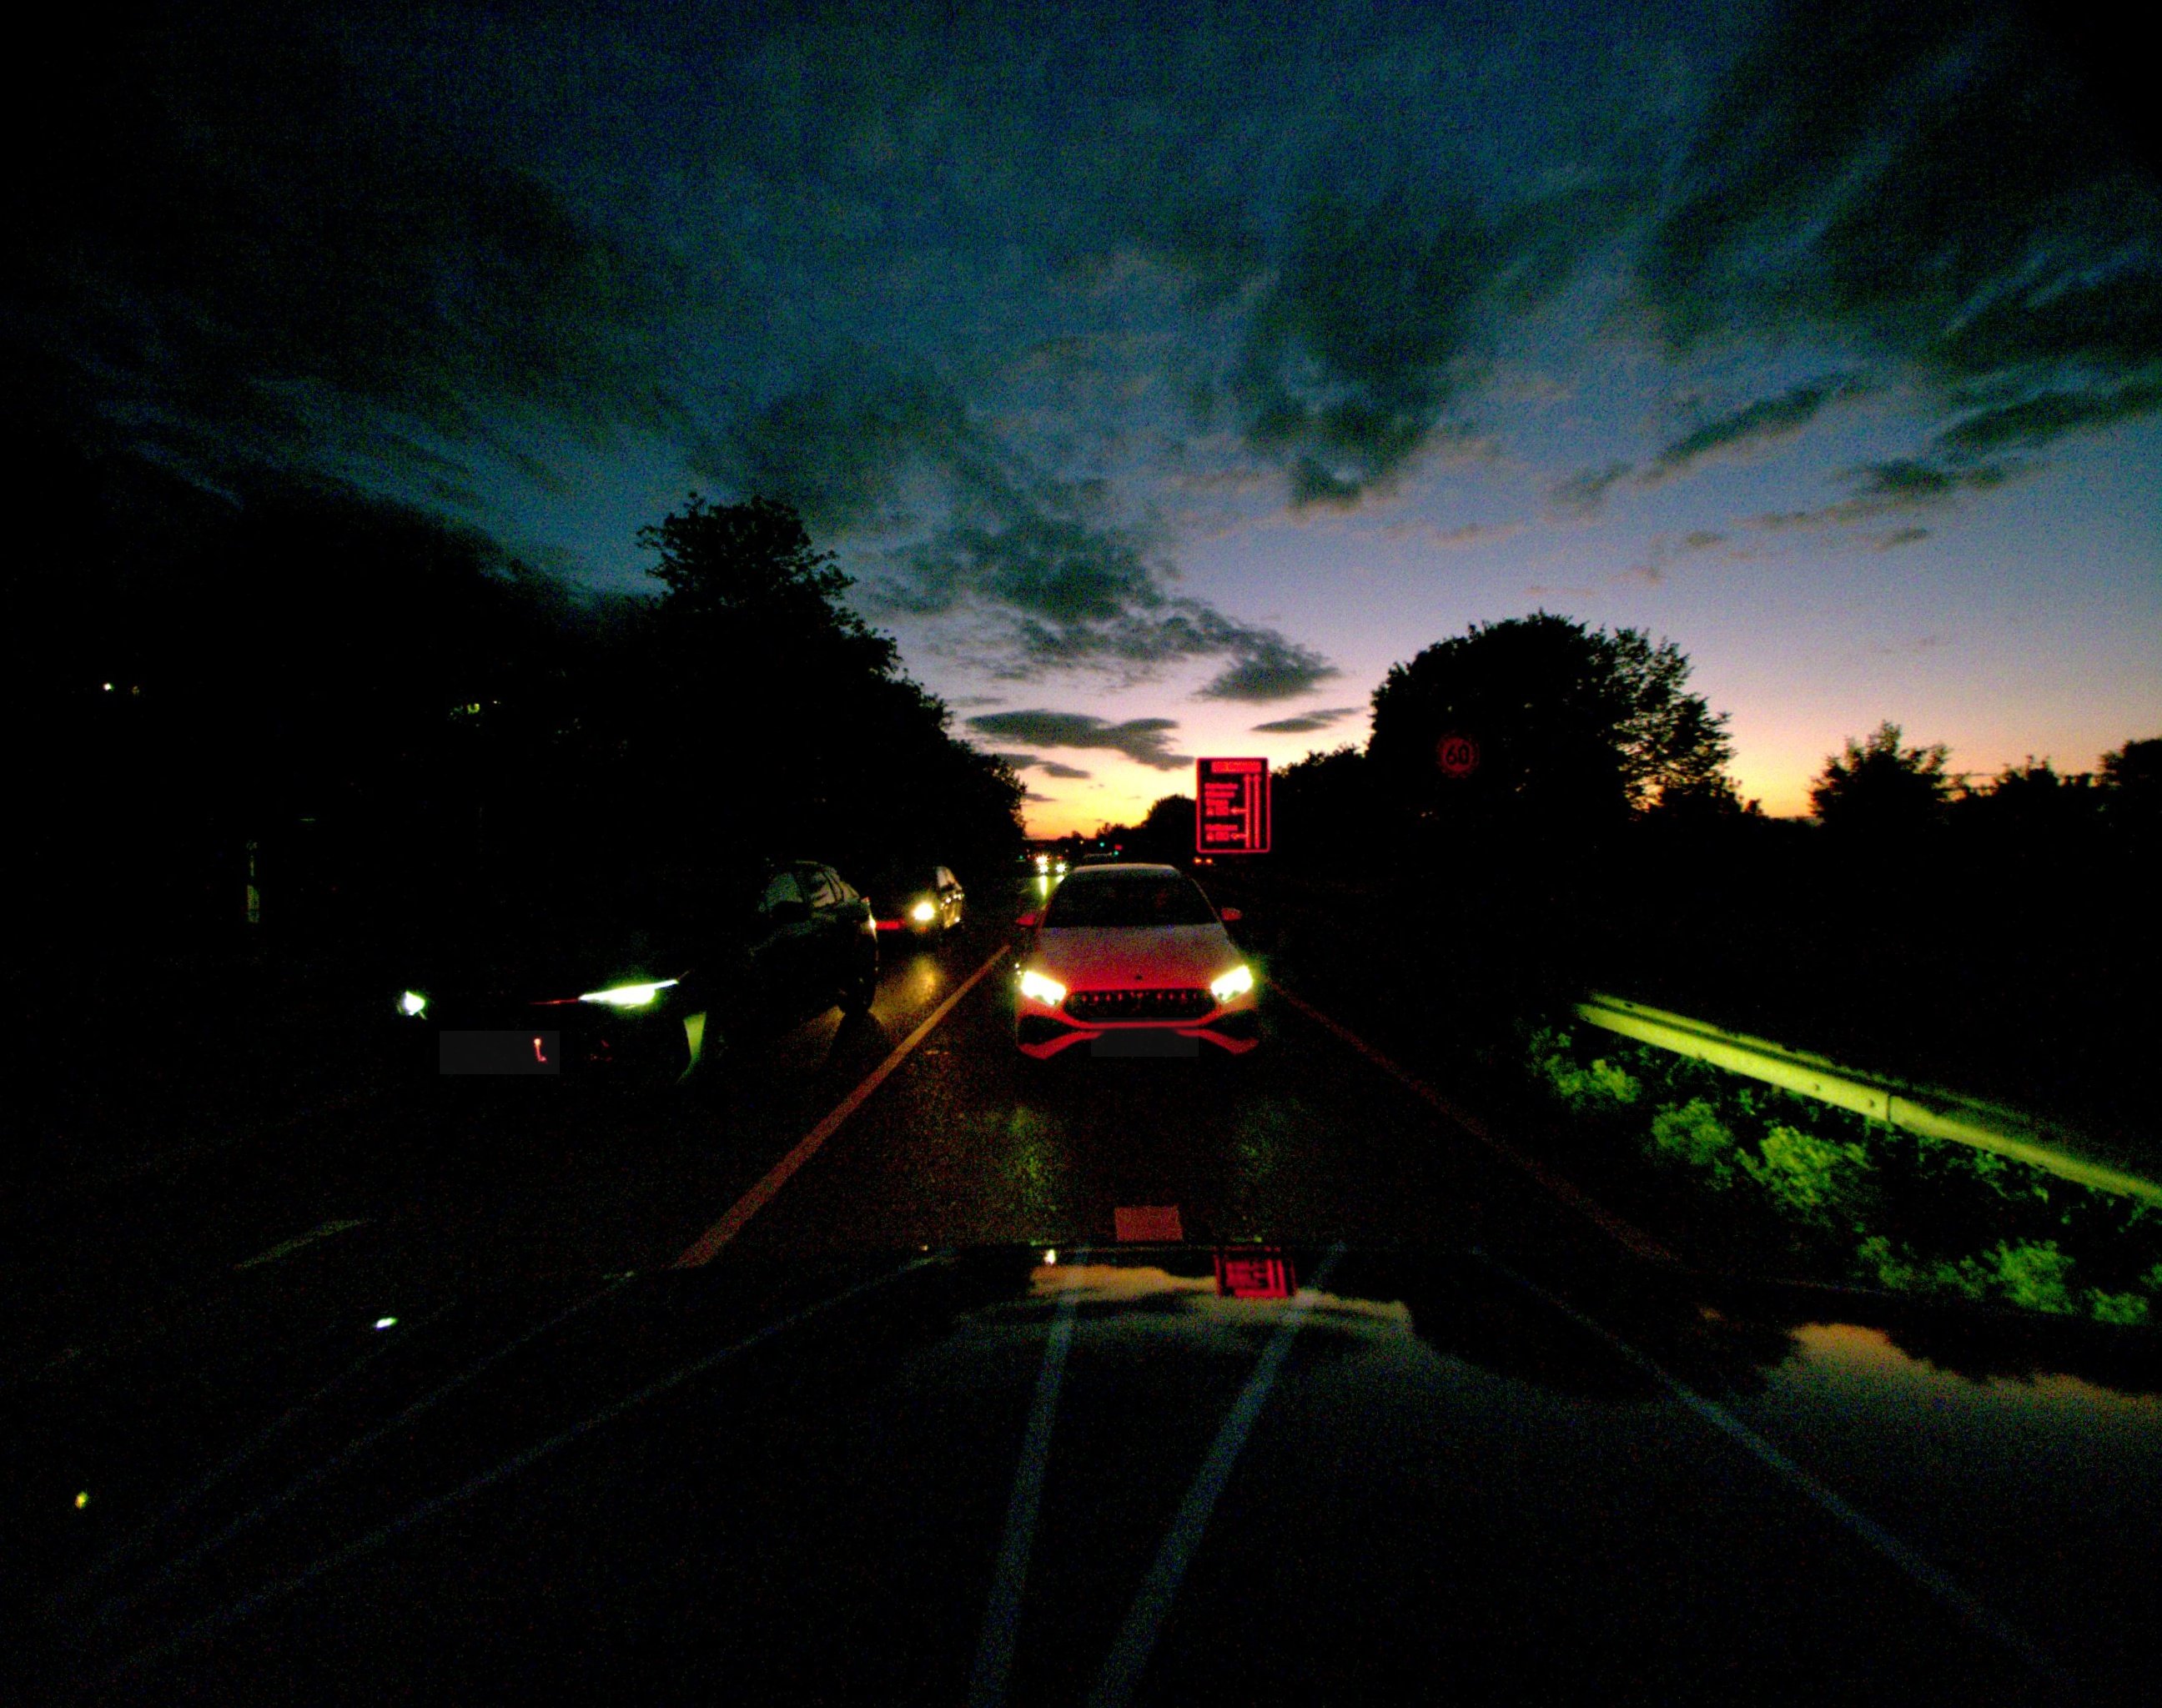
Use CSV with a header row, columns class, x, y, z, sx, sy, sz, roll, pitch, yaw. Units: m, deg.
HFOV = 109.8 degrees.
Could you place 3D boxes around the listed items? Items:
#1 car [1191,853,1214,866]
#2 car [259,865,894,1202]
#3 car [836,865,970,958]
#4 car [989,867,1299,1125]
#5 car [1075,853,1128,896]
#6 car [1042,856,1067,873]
class,x,y,z,sx,sy,sz,roll,pitch,yaw
car,14.267,0.604,89.539,1.998,1.510,4.297,-1,0,1
car,-3.174,0.964,6.265,1.998,1.600,4.711,-2,0,1
car,-3.316,1.015,14.894,1.624,1.460,3.871,-2,0,1
car,0.395,0.929,7.016,1.901,1.472,4.514,-2,0,0
car,0.765,0.806,31.745,1.999,1.602,4.501,-1,0,-1
car,-2.251,0.860,65.764,1.999,1.423,4.501,0,0,-1
